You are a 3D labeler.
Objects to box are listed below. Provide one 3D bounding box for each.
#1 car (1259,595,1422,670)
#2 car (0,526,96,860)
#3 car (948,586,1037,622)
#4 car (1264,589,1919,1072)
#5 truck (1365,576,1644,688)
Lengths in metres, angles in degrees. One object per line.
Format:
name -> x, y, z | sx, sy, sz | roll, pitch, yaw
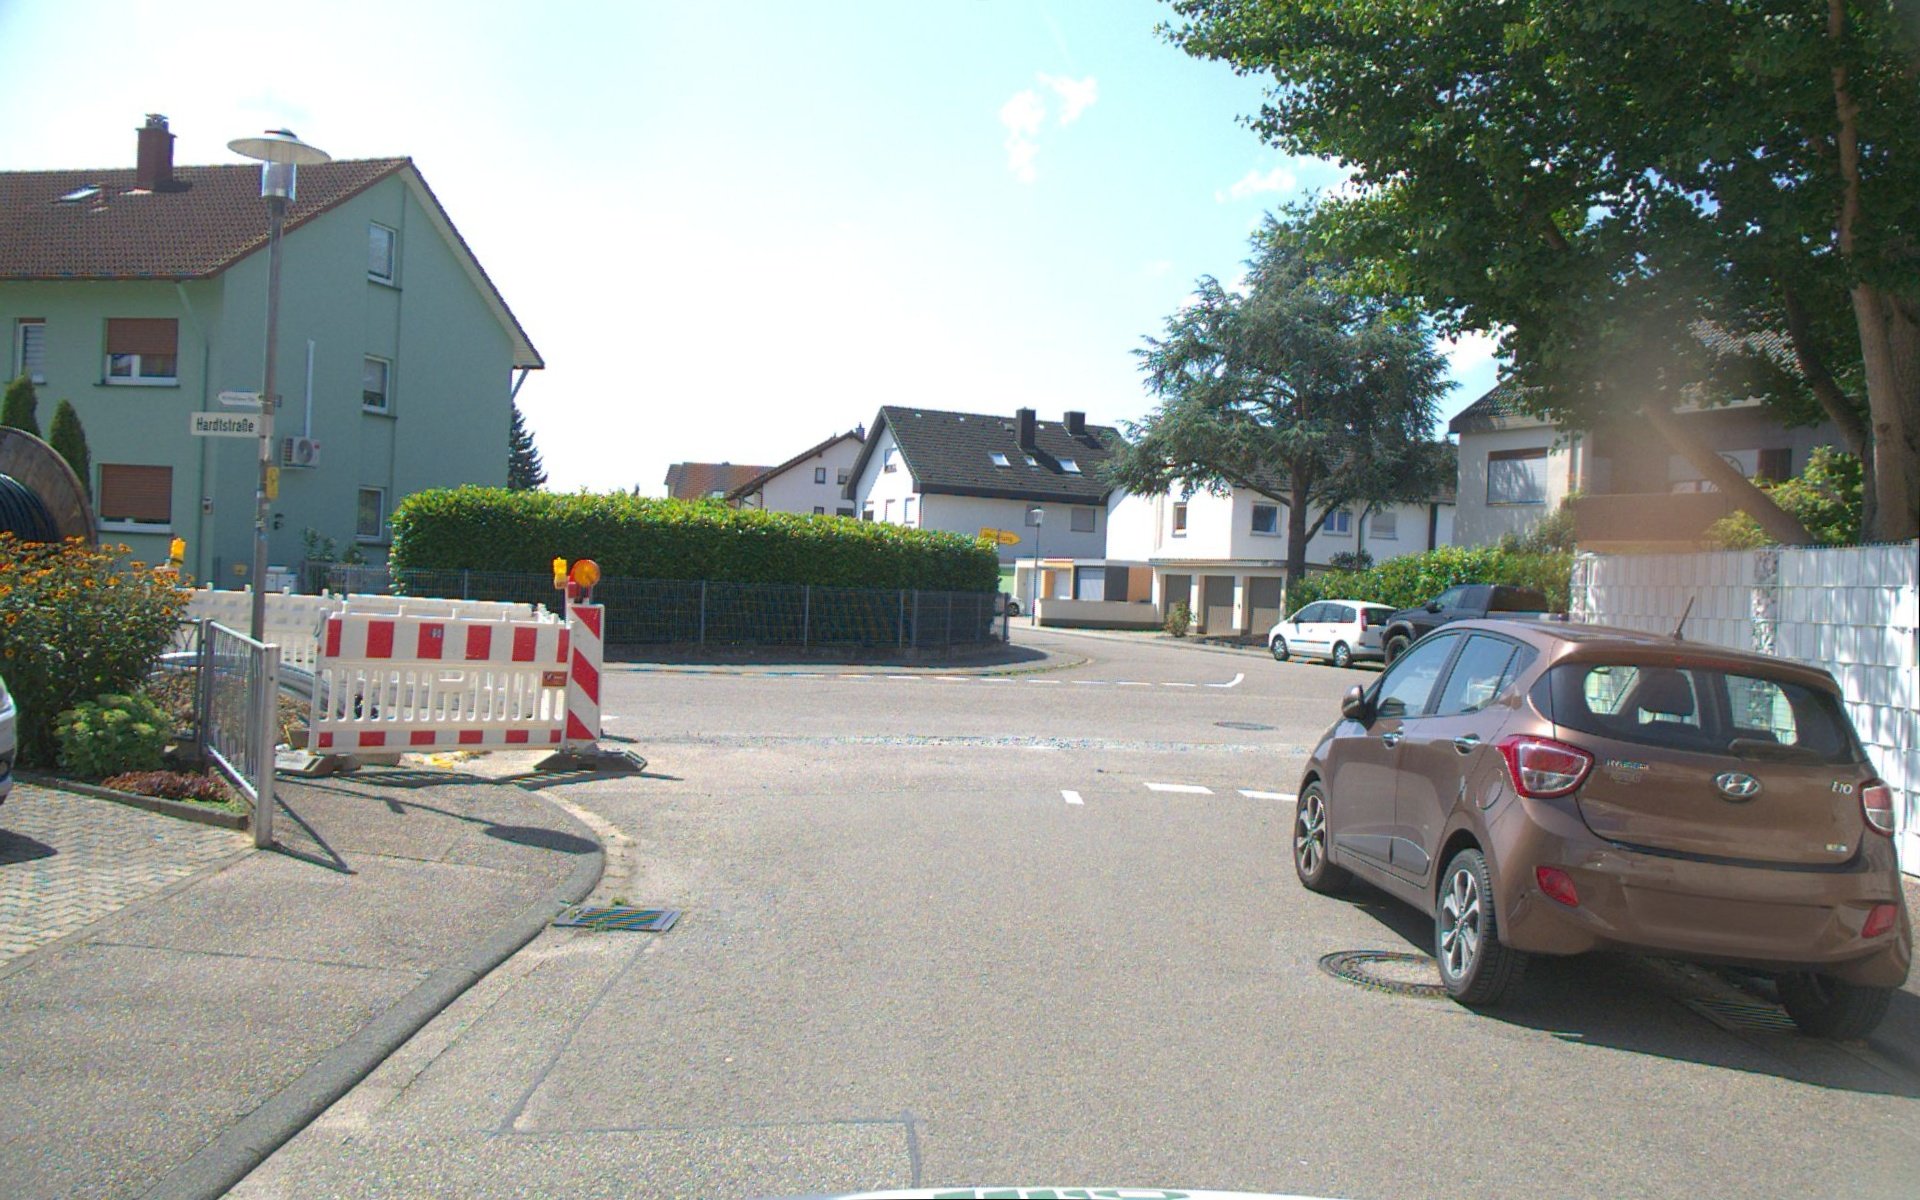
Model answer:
car -> 9.378, 0.771, 41.063 | 1.775, 1.590, 4.112 | 2, 1, -25
car -> -6.441, 0.325, 8.198 | 4.377, 1.511, 1.788 | 3, 0, 31
car -> 1.457, 0.181, 73.902 | 3.550, 1.433, 1.772 | 2, 1, -23
car -> 2.801, 0.821, 7.879 | 1.679, 1.558, 4.033 | 6, 0, -3
truck -> 11.404, 0.614, 35.143 | 2.334, 2.048, 5.667 | 2, 1, -26
